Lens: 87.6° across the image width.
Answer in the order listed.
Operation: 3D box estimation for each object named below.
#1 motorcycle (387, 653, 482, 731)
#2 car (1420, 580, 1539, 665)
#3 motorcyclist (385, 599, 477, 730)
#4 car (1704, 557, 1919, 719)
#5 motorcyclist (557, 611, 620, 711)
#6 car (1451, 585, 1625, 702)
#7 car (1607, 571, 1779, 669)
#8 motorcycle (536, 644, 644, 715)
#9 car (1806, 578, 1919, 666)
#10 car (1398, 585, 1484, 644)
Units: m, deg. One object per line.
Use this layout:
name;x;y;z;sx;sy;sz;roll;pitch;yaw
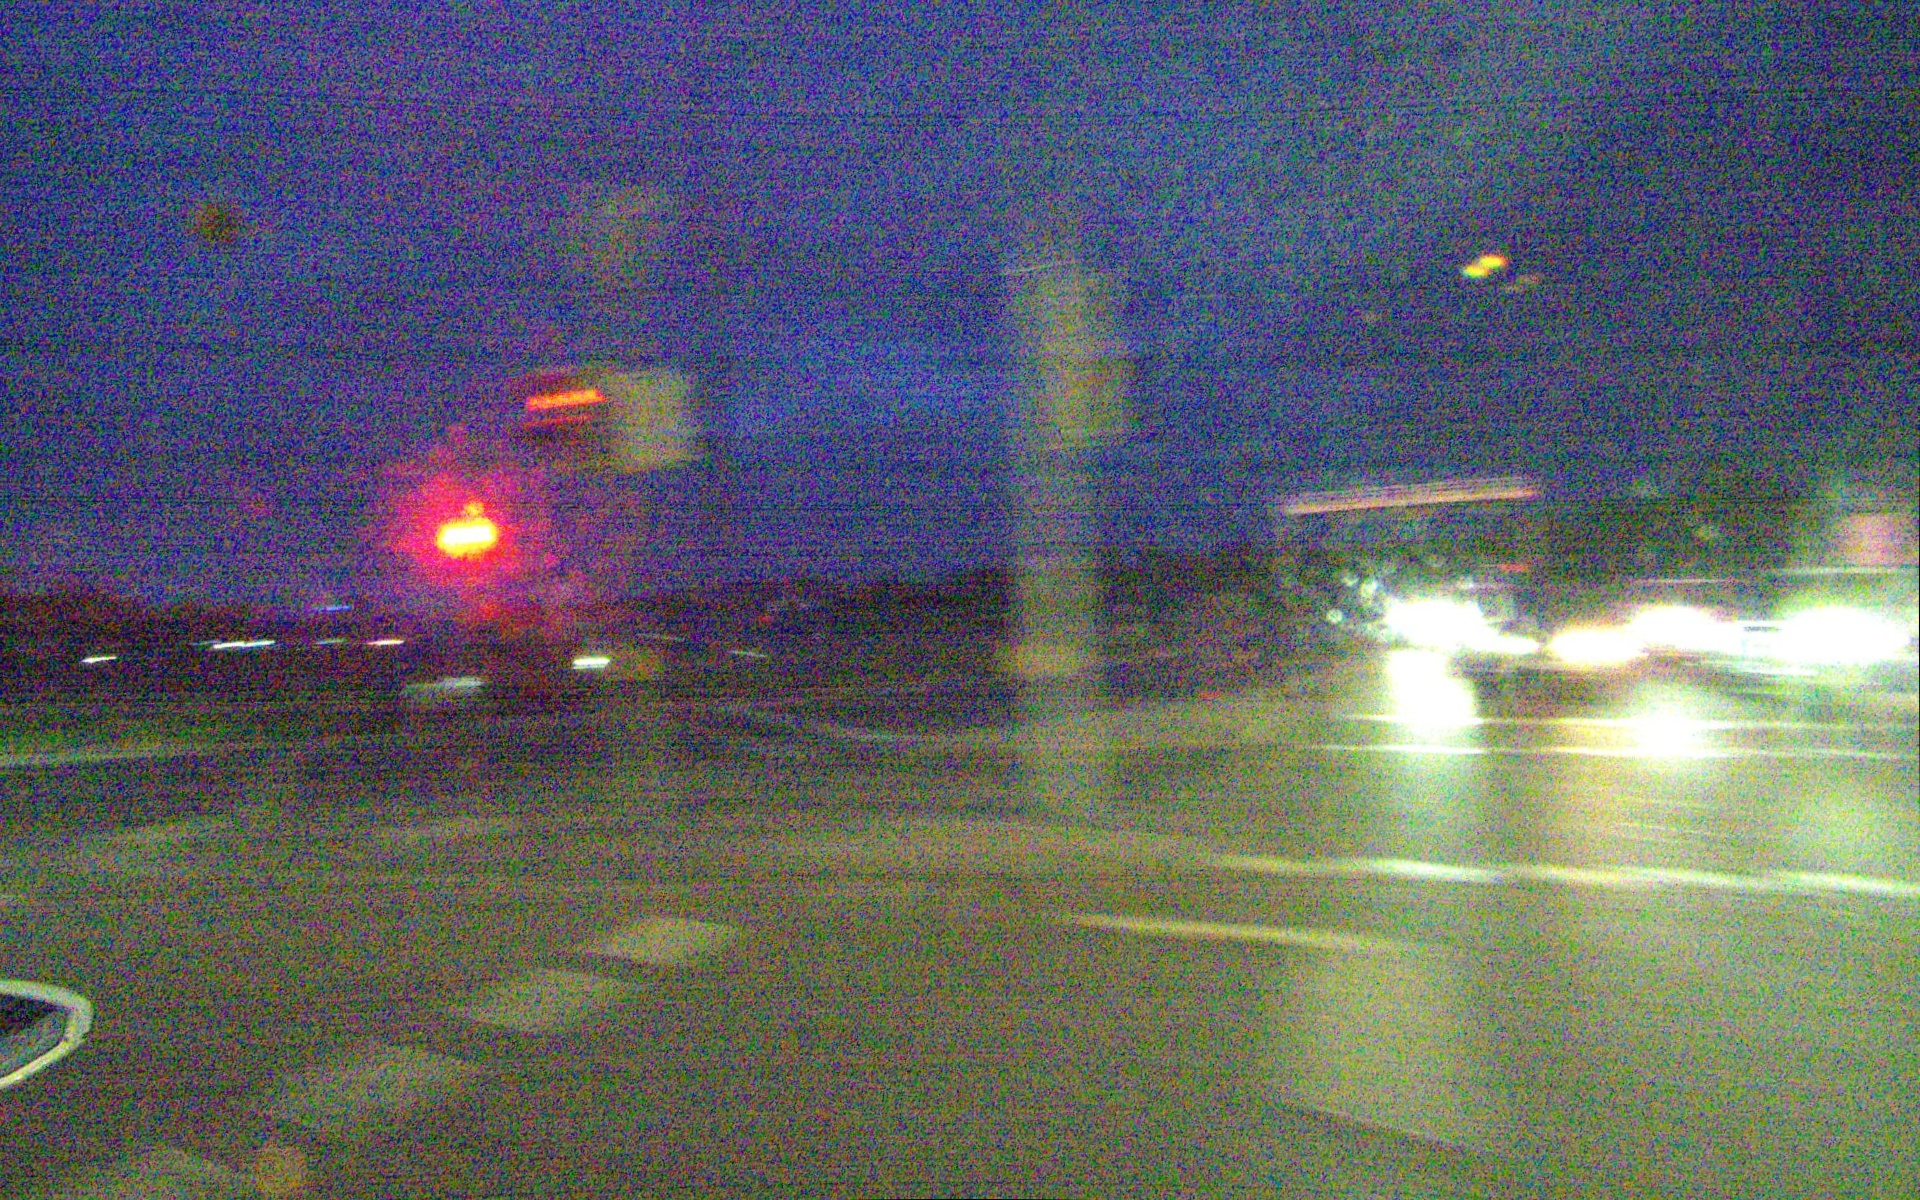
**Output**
motorcycle;-7.854;1.379;15.037;0.709;1.045;1.579;-4;-5;-7
car;10.631;0.427;20.742;1.807;1.544;3.989;-2;0;22
motorcyclist;-7.891;0.966;14.979;0.899;1.829;0.871;-4;-4;-7
car;11.080;0.383;12.521;1.883;1.704;4.406;-1;0;23
motorcyclist;-6.926;1.135;18.692;0.673;1.780;0.788;-5;-3;22
car;8.320;0.540;14.760;1.757;1.465;4.277;-1;0;24
car;13.915;0.333;19.288;1.722;1.648;4.349;-1;0;23
motorcycle;-6.880;1.457;18.725;0.836;1.195;1.818;-6;-4;22
car;17.566;0.363;18.612;1.749;1.500;3.898;0;0;24
car;12.818;0.354;26.913;1.807;1.408;4.384;-2;0;22
